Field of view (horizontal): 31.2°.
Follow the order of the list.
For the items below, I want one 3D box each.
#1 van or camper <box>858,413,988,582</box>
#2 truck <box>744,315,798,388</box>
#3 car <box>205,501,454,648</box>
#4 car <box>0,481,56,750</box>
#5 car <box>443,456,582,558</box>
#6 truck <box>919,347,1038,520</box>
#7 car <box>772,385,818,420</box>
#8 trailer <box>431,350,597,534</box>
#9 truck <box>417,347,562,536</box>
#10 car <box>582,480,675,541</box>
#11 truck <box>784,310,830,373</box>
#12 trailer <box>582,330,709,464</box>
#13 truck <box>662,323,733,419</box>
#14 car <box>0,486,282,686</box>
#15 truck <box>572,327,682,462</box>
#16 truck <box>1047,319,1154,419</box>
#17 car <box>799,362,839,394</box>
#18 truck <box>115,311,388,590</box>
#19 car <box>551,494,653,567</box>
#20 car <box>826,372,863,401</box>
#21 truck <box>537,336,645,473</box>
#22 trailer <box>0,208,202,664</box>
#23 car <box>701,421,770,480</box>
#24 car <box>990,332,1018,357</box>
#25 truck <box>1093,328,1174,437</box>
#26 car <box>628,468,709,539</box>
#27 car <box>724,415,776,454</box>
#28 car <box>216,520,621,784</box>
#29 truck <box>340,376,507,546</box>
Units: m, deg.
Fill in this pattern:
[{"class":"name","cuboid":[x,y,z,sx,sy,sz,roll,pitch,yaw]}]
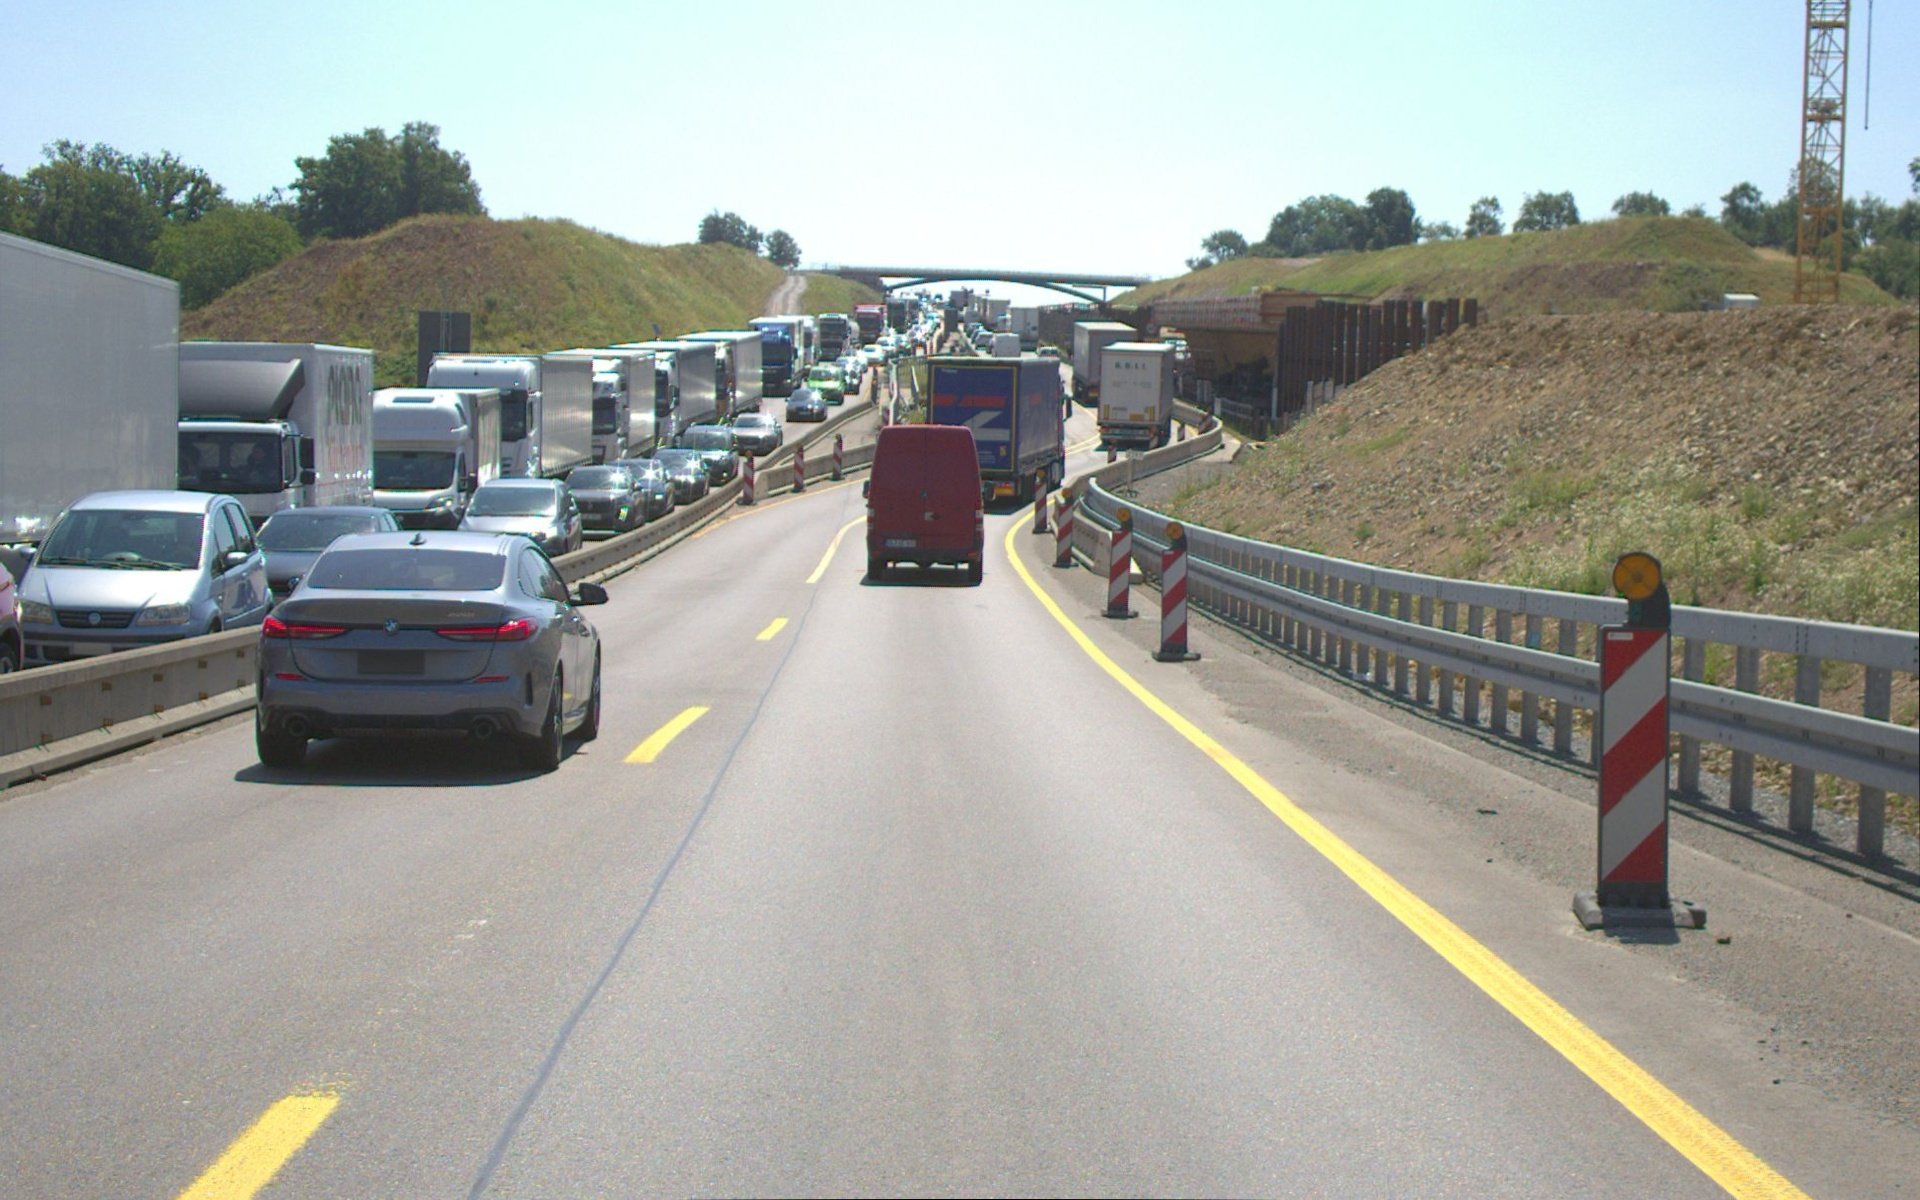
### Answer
[{"class":"van or camper","cuboid":[-0.676,-1.791,59.043,2.029,2.734,4.516,1,2,-2]},{"class":"truck","cuboid":[-10.542,-13.873,192.488,2.887,3.825,8.004,1,2,-3]},{"class":"car","cuboid":[-7.089,-0.304,39.081,1.993,1.551,4.339,1,1,0]},{"class":"car","cuboid":[-6.855,0.128,20.042,1.993,1.625,4.759,2,3,-2]},{"class":"car","cuboid":[-7.471,-1.551,57.759,1.827,1.645,4.547,0,1,-1]},{"class":"truck","cuboid":[0.576,-4.675,97.051,3.021,4.676,6.933,0,2,3]},{"class":"car","cuboid":[-7.591,-9.085,158.521,1.952,1.524,4.268,1,2,-1]},{"class":"trailer","cuboid":[-11.063,-3.943,86.456,2.595,4.242,12.469,1,2,0]},{"class":"truck","cuboid":[-11.003,-3.746,80.926,2.551,4.216,6.531,1,3,-1]},{"class":"car","cuboid":[-8.198,-2.241,85.367,1.902,1.371,4.547,-1,3,-1]},{"class":"truck","cuboid":[-10.073,-16.977,226.236,2.887,3.825,8.004,1,2,-3]},{"class":"trailer","cuboid":[-11.279,-7.273,124.567,3.042,4.536,12.128,1,3,2]},{"class":"truck","cuboid":[-10.975,-9.558,144.301,2.683,3.825,7.388,1,2,-3]},{"class":"car","cuboid":[-7.052,-0.154,29.283,1.827,1.568,4.000,1,1,-1]},{"class":"truck","cuboid":[-11.428,-7.037,118.522,3.052,4.465,5.980,1,3,1]},{"class":"truck","cuboid":[7.765,-12.477,187.586,5.161,4.979,13.875,-1,2,5]},{"class":"car","cuboid":[-7.308,-11.517,178.509,1.952,1.524,4.268,1,2,-1]},{"class":"truck","cuboid":[-10.624,-2.252,52.393,2.524,3.842,8.673,1,2,-1]},{"class":"car","cuboid":[-7.776,-1.515,75.027,1.827,1.530,4.547,0,1,-1]},{"class":"car","cuboid":[-6.535,-12.083,194.798,1.952,1.524,4.268,1,2,-1]},{"class":"truck","cuboid":[-11.005,-5.796,103.043,2.782,3.856,5.462,1,1,-2]},{"class":"trailer","cuboid":[-10.379,-1.595,33.826,2.986,4.194,13.948,1,2,-1]},{"class":"car","cuboid":[-7.038,-4.697,107.958,1.993,1.776,4.001,1,2,-2]},{"class":"car","cuboid":[3.246,-18.970,255.254,1.952,1.635,4.268,1,2,-1]},{"class":"truck","cuboid":[7.096,-8.817,140.040,3.039,4.086,7.084,1,1,5]},{"class":"car","cuboid":[-8.047,-2.658,95.315,1.993,1.777,4.000,1,-1,-2]},{"class":"car","cuboid":[-7.902,-6.230,129.467,1.747,1.404,4.001,1,2,-1]},{"class":"car","cuboid":[-3.328,0.245,22.003,1.851,1.447,4.742,1,2,0]},{"class":"truck","cuboid":[-10.483,-2.776,67.716,2.433,3.137,7.025,0,3,-2]}]
